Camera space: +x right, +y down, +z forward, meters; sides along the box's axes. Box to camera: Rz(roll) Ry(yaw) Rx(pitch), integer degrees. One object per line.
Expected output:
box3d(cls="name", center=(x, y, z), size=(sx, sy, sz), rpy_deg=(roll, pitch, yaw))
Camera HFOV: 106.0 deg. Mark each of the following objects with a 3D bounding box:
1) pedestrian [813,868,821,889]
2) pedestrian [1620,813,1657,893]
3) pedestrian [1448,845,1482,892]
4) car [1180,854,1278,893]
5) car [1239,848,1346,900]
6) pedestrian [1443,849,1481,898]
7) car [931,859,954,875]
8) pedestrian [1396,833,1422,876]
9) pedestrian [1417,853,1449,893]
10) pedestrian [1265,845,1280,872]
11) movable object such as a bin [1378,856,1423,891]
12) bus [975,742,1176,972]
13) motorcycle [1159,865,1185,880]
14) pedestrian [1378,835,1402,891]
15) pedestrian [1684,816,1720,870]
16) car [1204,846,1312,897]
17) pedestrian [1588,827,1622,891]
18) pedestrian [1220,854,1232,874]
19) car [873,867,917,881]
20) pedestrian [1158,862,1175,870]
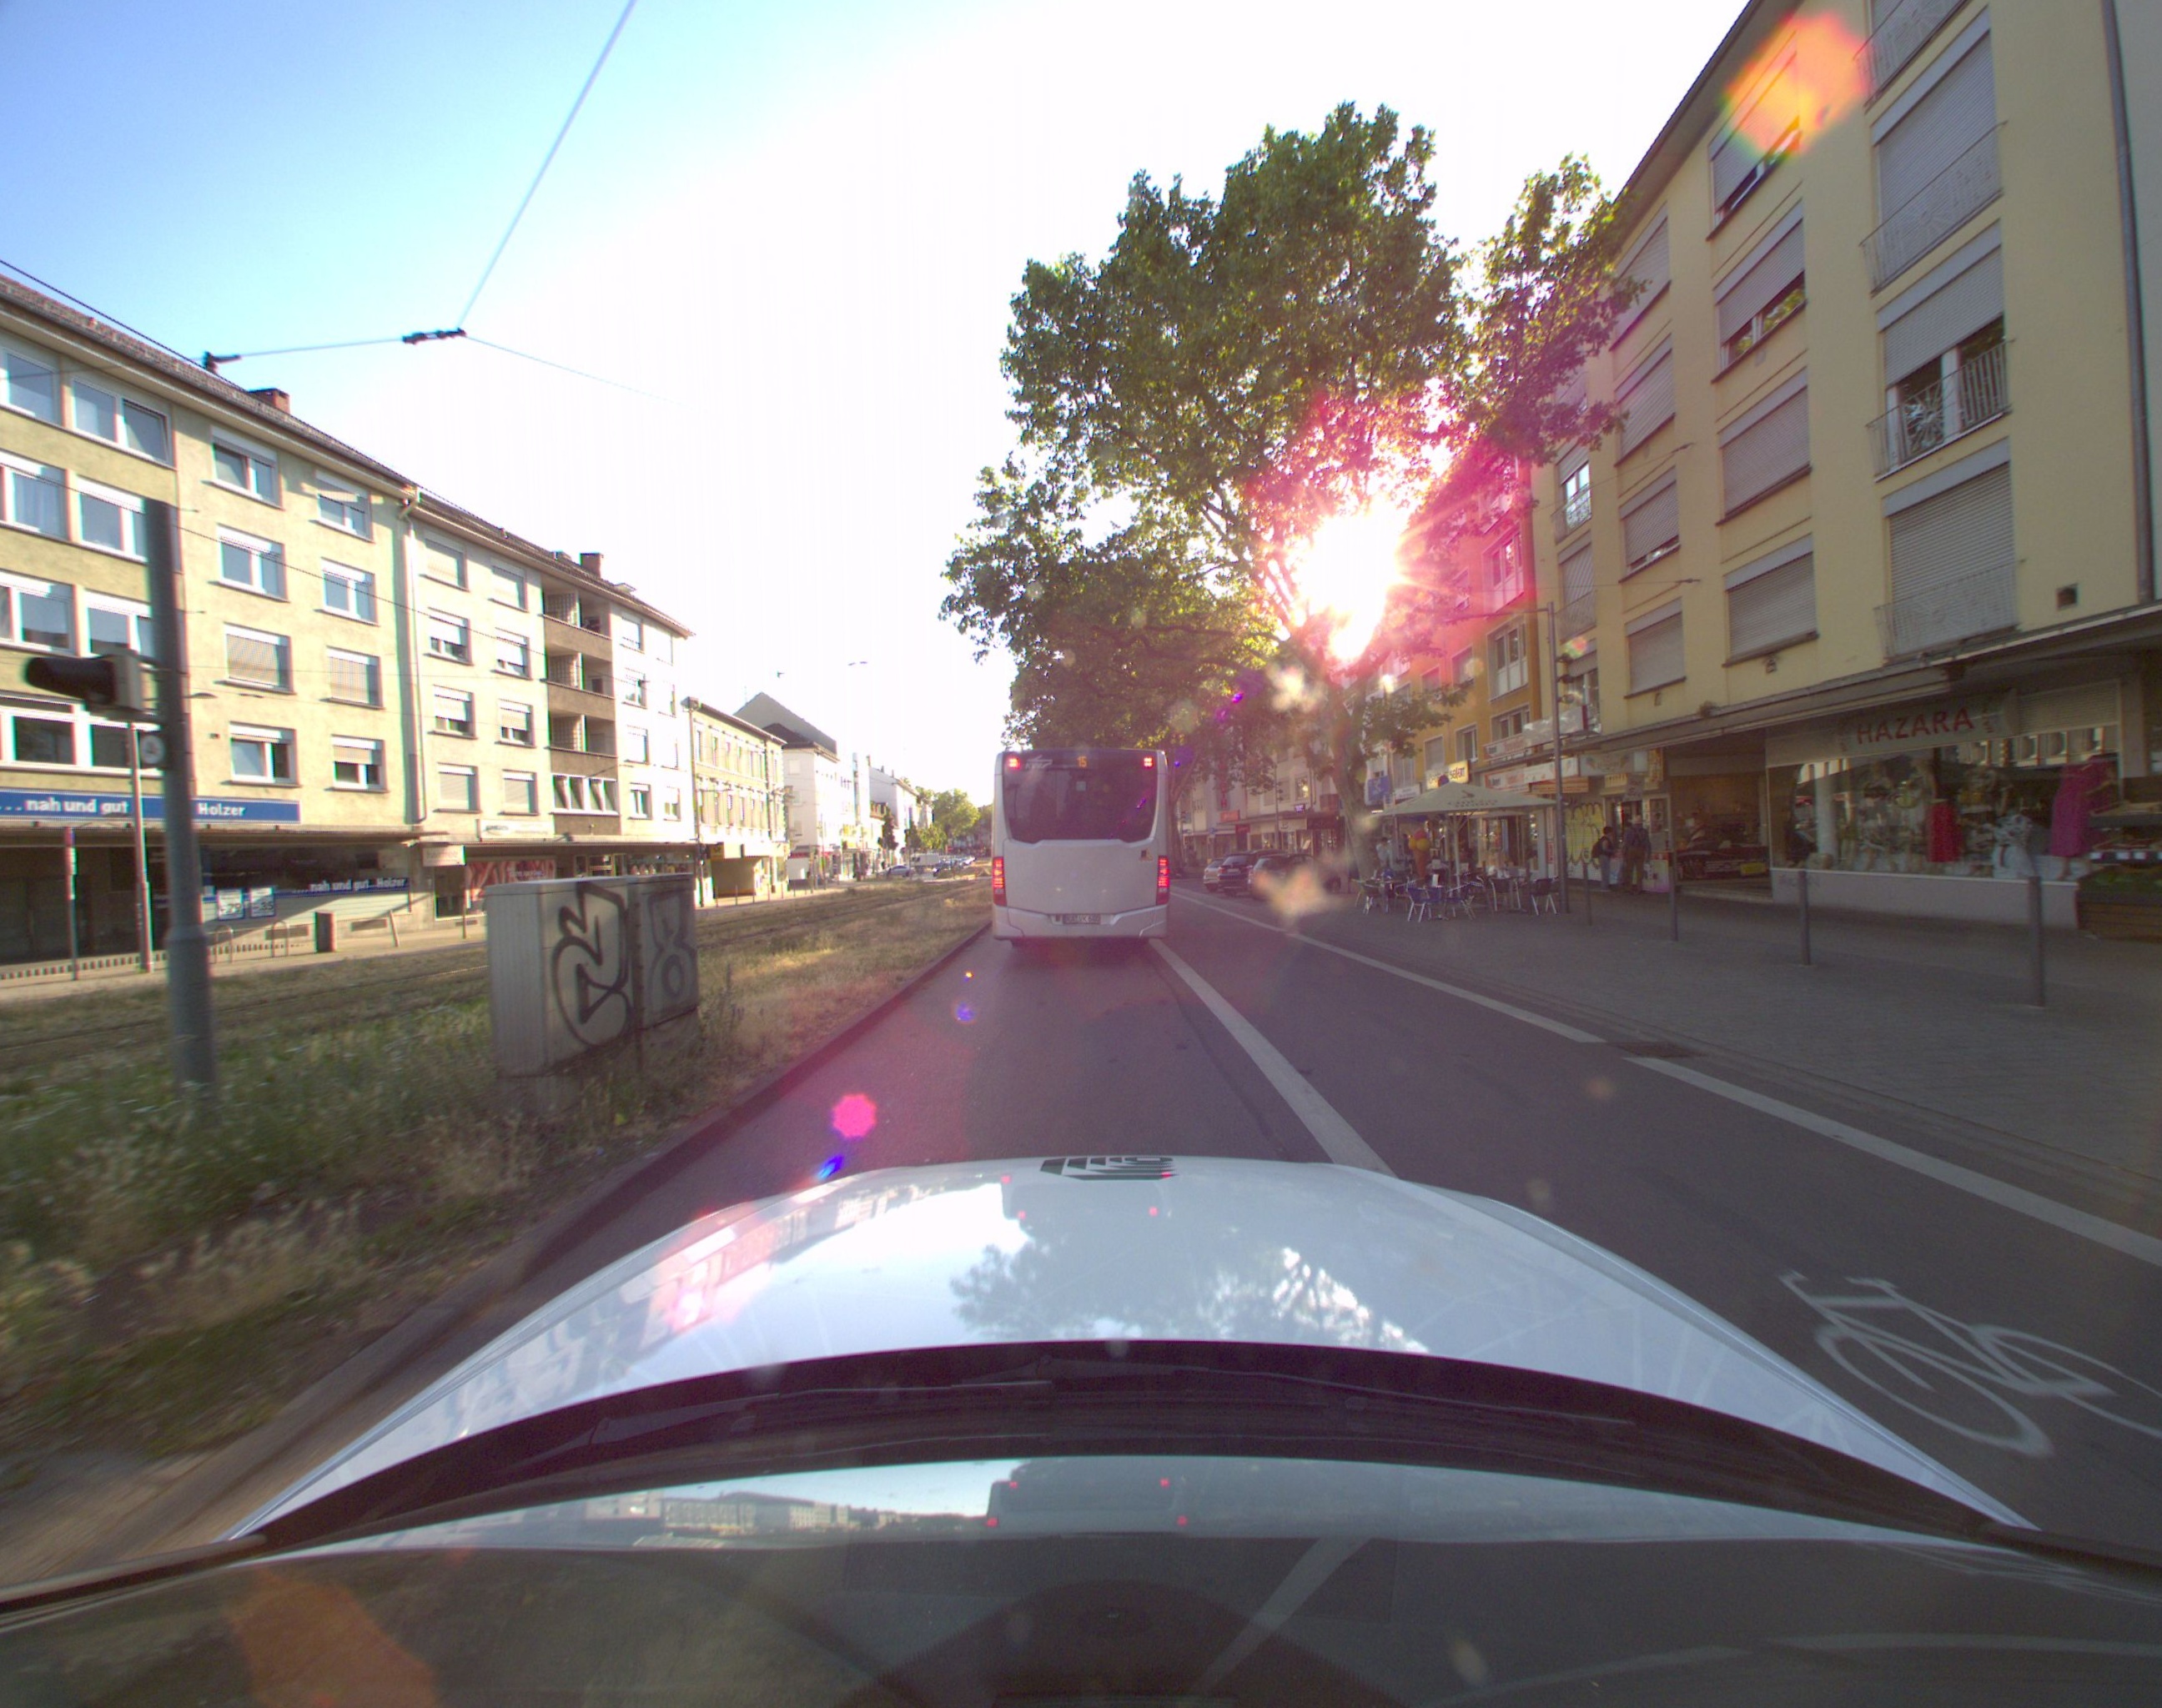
box3d(cls="pedestrian", center=(-22.186, 2.055, 68.446), size=(0.424, 1.713, 0.508), rpy_deg=(-3, -1, 3))
box3d(cls="pedestrian", center=(12.853, -0.016, 18.781), size=(0.629, 1.804, 0.631), rpy_deg=(-3, -1, 35))
box3d(cls="pedestrian", center=(10.773, 0.407, 22.839), size=(0.581, 1.275, 0.759), rpy_deg=(-1, 0, 0))
box3d(cls="car", center=(6.412, 0.808, 35.086), size=(4.198, 1.451, 1.789), rpy_deg=(-2, -1, -39))
box3d(cls="car", center=(7.163, 0.653, 27.455), size=(3.628, 1.540, 1.721), rpy_deg=(-2, -1, -42))
box3d(cls="pedestrian", center=(9.913, 0.491, 21.211), size=(0.604, 1.225, 0.745), rpy_deg=(-2, 0, 0))
box3d(cls="car", center=(-15.144, 1.434, 89.288), size=(1.717, 1.509, 3.476), rpy_deg=(-5, 0, 0))
box3d(cls="pedestrian", center=(14.248, 0.037, 35.405), size=(0.703, 1.791, 0.789), rpy_deg=(-6, -1, 5))
box3d(cls="pedestrian", center=(10.179, 0.542, 23.566), size=(0.581, 1.115, 0.751), rpy_deg=(-1, 0, 0))
box3d(cls="pedestrian", center=(13.086, 0.332, 55.607), size=(0.778, 1.794, 0.764), rpy_deg=(-3, 0, -1))
box3d(cls="movable object such as a bin", center=(9.722, 0.573, 24.797), size=(0.930, 1.023, 0.833), rpy_deg=(-1, 0, -22))
box3d(cls="bus", center=(-0.050, 0.025, 14.680), size=(2.669, 3.083, 7.113), rpy_deg=(-1, 0, 0))
box3d(cls="motorcycle", center=(5.861, 1.194, 52.451), size=(1.567, 0.892, 0.544), rpy_deg=(-3, -1, -4))
box3d(cls="pedestrian", center=(10.310, 0.299, 27.178), size=(0.518, 1.832, 0.471), rpy_deg=(-2, -1, -23))
box3d(cls="pedestrian", center=(15.161, -0.261, 19.894), size=(0.424, 1.296, 0.508), rpy_deg=(-3, -1, 3))
box3d(cls="car", center=(6.696, 0.644, 30.666), size=(4.174, 1.681, 1.788), rpy_deg=(-2, -1, -42))
box3d(cls="pedestrian", center=(13.034, 0.122, 20.275), size=(0.618, 1.546, 0.641), rpy_deg=(-3, -1, 30))
box3d(cls="pedestrian", center=(12.964, 0.884, 72.738), size=(0.747, 1.679, 0.833), rpy_deg=(-2, 2, -7))
box3d(cls="car", center=(-21.879, 2.339, 96.001), size=(4.573, 1.412, 1.977), rpy_deg=(-2, 0, -37))
box3d(cls="pedestrian", center=(6.635, 0.943, 63.398), size=(1.251, 0.589, 0.482), rpy_deg=(-2, 0, -3))
